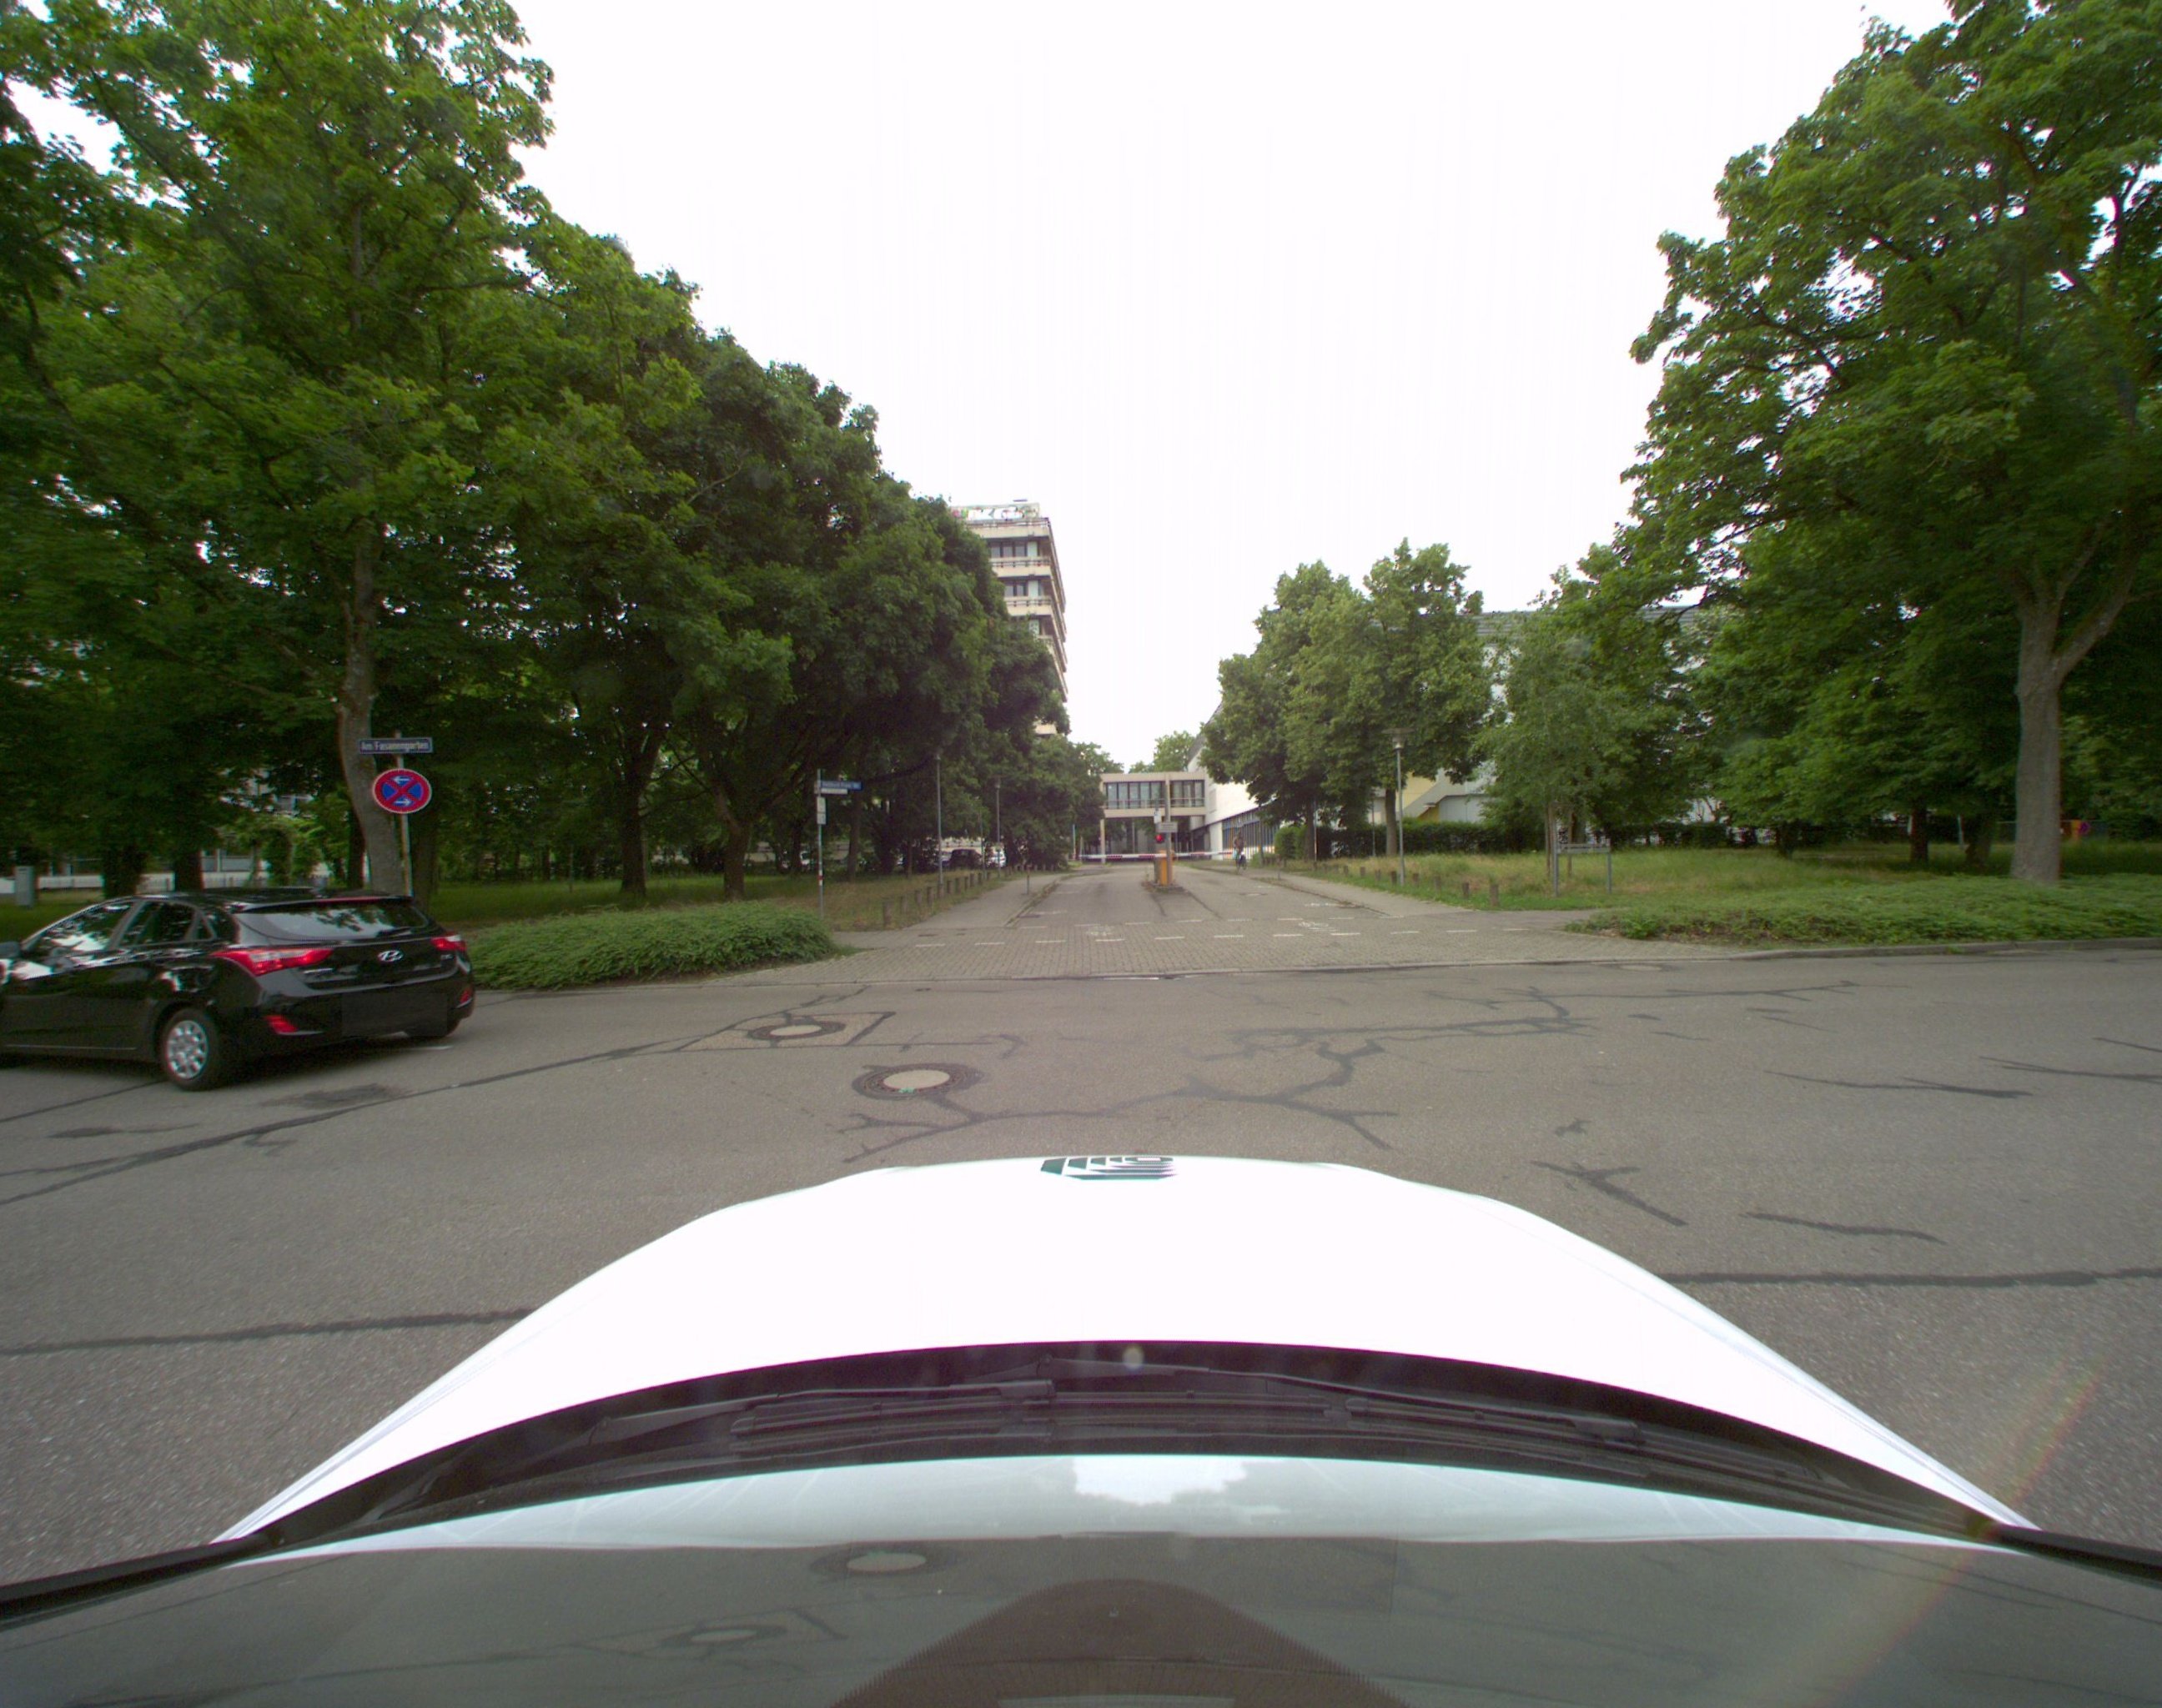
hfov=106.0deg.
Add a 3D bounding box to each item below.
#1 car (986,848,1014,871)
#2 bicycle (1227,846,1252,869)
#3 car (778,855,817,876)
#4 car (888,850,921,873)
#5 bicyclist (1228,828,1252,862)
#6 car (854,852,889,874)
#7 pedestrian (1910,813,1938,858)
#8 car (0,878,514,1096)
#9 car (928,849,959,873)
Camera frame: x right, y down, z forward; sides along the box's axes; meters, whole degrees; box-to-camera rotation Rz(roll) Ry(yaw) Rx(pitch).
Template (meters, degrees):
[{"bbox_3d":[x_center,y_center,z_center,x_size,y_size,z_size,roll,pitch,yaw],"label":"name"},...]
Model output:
[{"bbox_3d":[-6.598,0.468,66.414,1.989,1.762,3.995,-2,-1,-3],"label":"car"},{"bbox_3d":[7.813,0.146,40.156,0.863,1.074,2.143,-2,1,2],"label":"bicycle"},{"bbox_3d":[-23.150,0.949,66.636,1.913,1.618,3.996,-2,0,-3],"label":"car"},{"bbox_3d":[-14.280,0.641,66.107,1.989,1.728,3.995,-2,-2,-3],"label":"car"},{"bbox_3d":[7.823,-0.448,40.067,1.013,1.644,0.923,-2,0,2],"label":"bicyclist"},{"bbox_3d":[-16.990,0.706,66.205,1.989,1.618,3.996,-2,0,-3],"label":"car"},{"bbox_3d":[34.772,-0.767,33.592,0.567,1.798,0.545,-1,1,11],"label":"pedestrian"},{"bbox_3d":[-7.278,0.993,7.024,3.787,1.462,1.859,-1,-1,14],"label":"car"},{"bbox_3d":[-11.178,0.572,66.402,1.989,1.794,3.995,-2,-2,-3],"label":"car"}]
